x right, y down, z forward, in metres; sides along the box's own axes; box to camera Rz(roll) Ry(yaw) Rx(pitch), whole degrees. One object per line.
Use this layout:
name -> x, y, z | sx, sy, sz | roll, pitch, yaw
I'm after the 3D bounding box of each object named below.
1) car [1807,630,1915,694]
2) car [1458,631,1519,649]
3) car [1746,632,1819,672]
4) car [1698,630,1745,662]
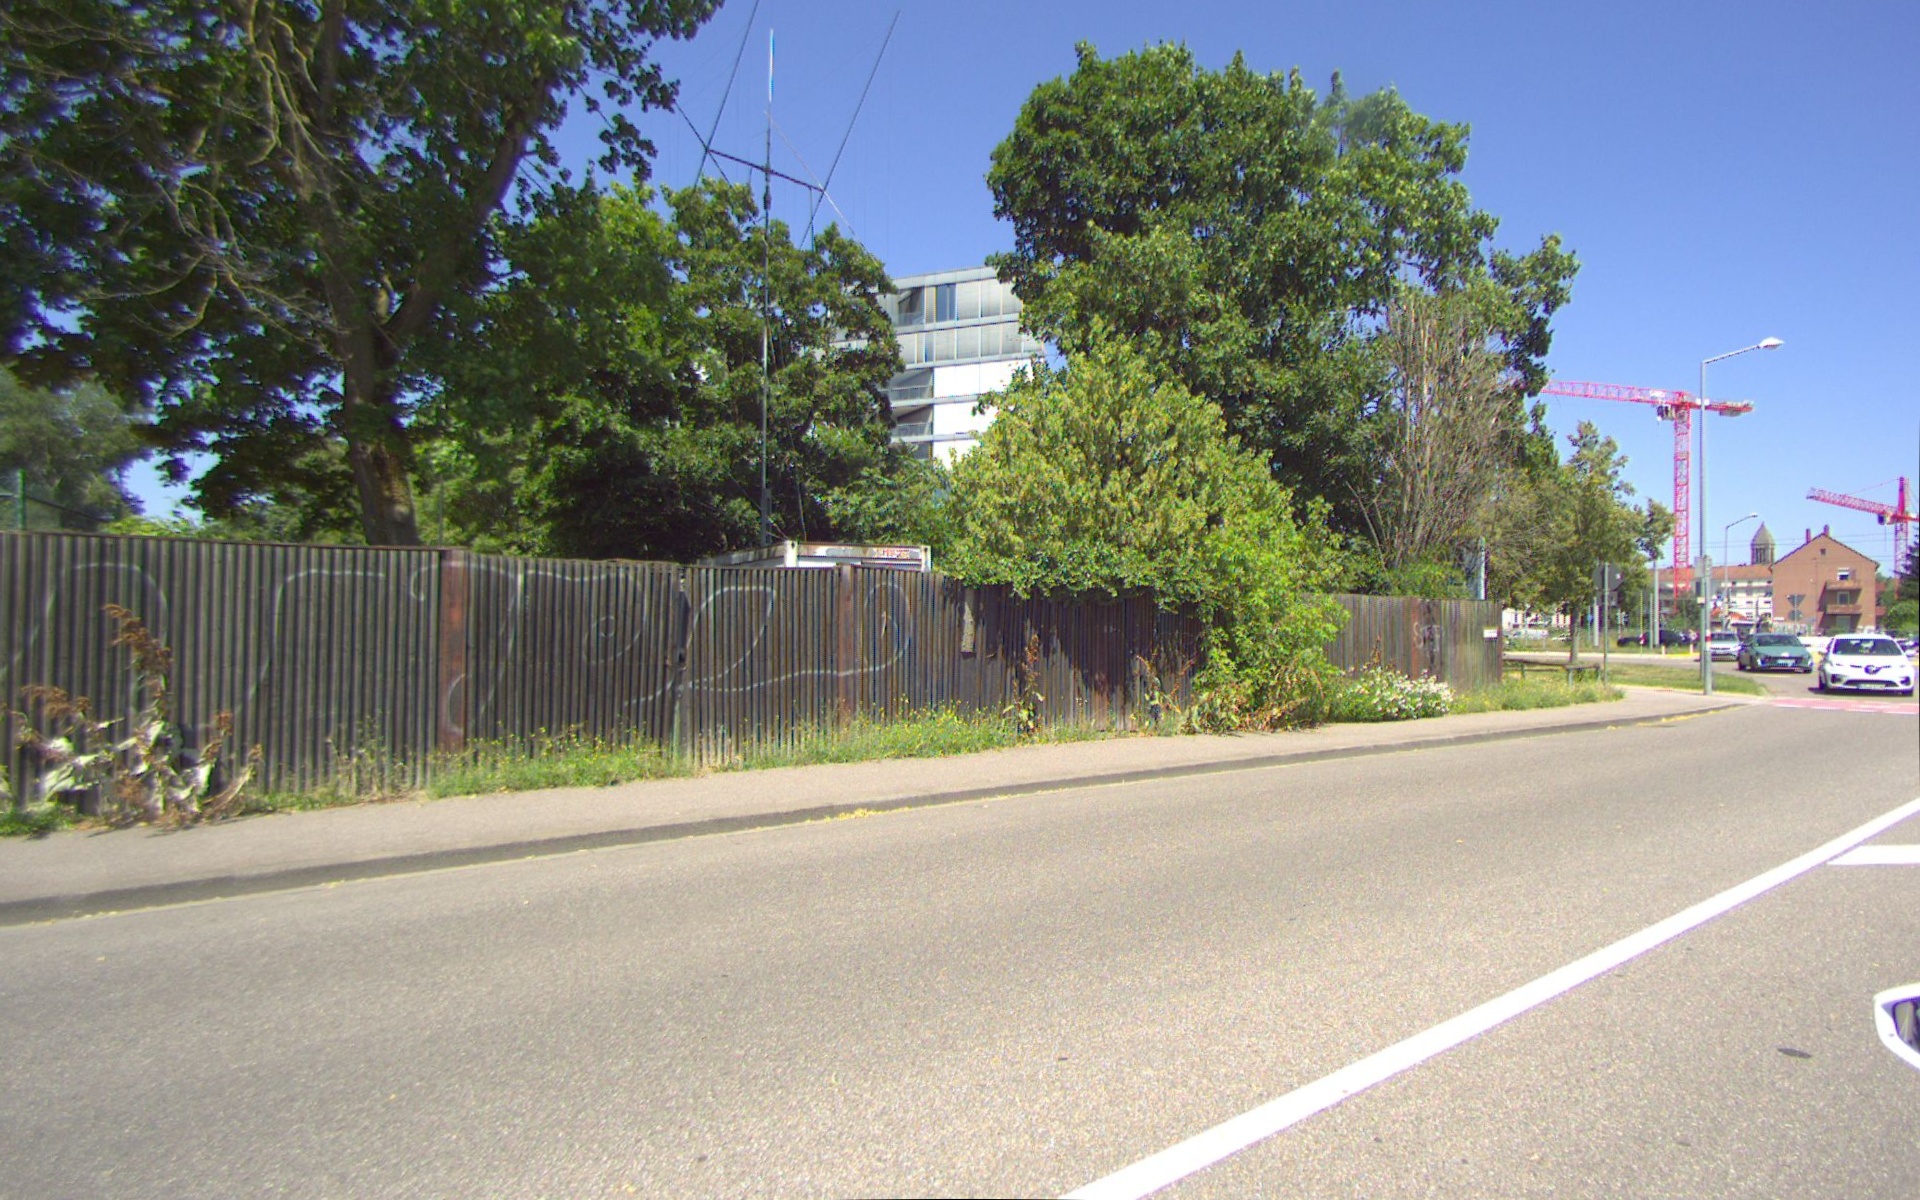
car -> 23.829, 1.577, 26.692 | 1.752, 1.547, 3.859 | -1, -2, 36
car -> 45.008, 3.403, 85.579 | 1.736, 1.390, 4.285 | 2, 0, -37
car -> 31.260, 1.932, 38.150 | 1.729, 1.390, 4.304 | 2, 0, 45
car -> 37.652, 2.229, 49.750 | 1.704, 1.421, 4.257 | 2, 0, 36
